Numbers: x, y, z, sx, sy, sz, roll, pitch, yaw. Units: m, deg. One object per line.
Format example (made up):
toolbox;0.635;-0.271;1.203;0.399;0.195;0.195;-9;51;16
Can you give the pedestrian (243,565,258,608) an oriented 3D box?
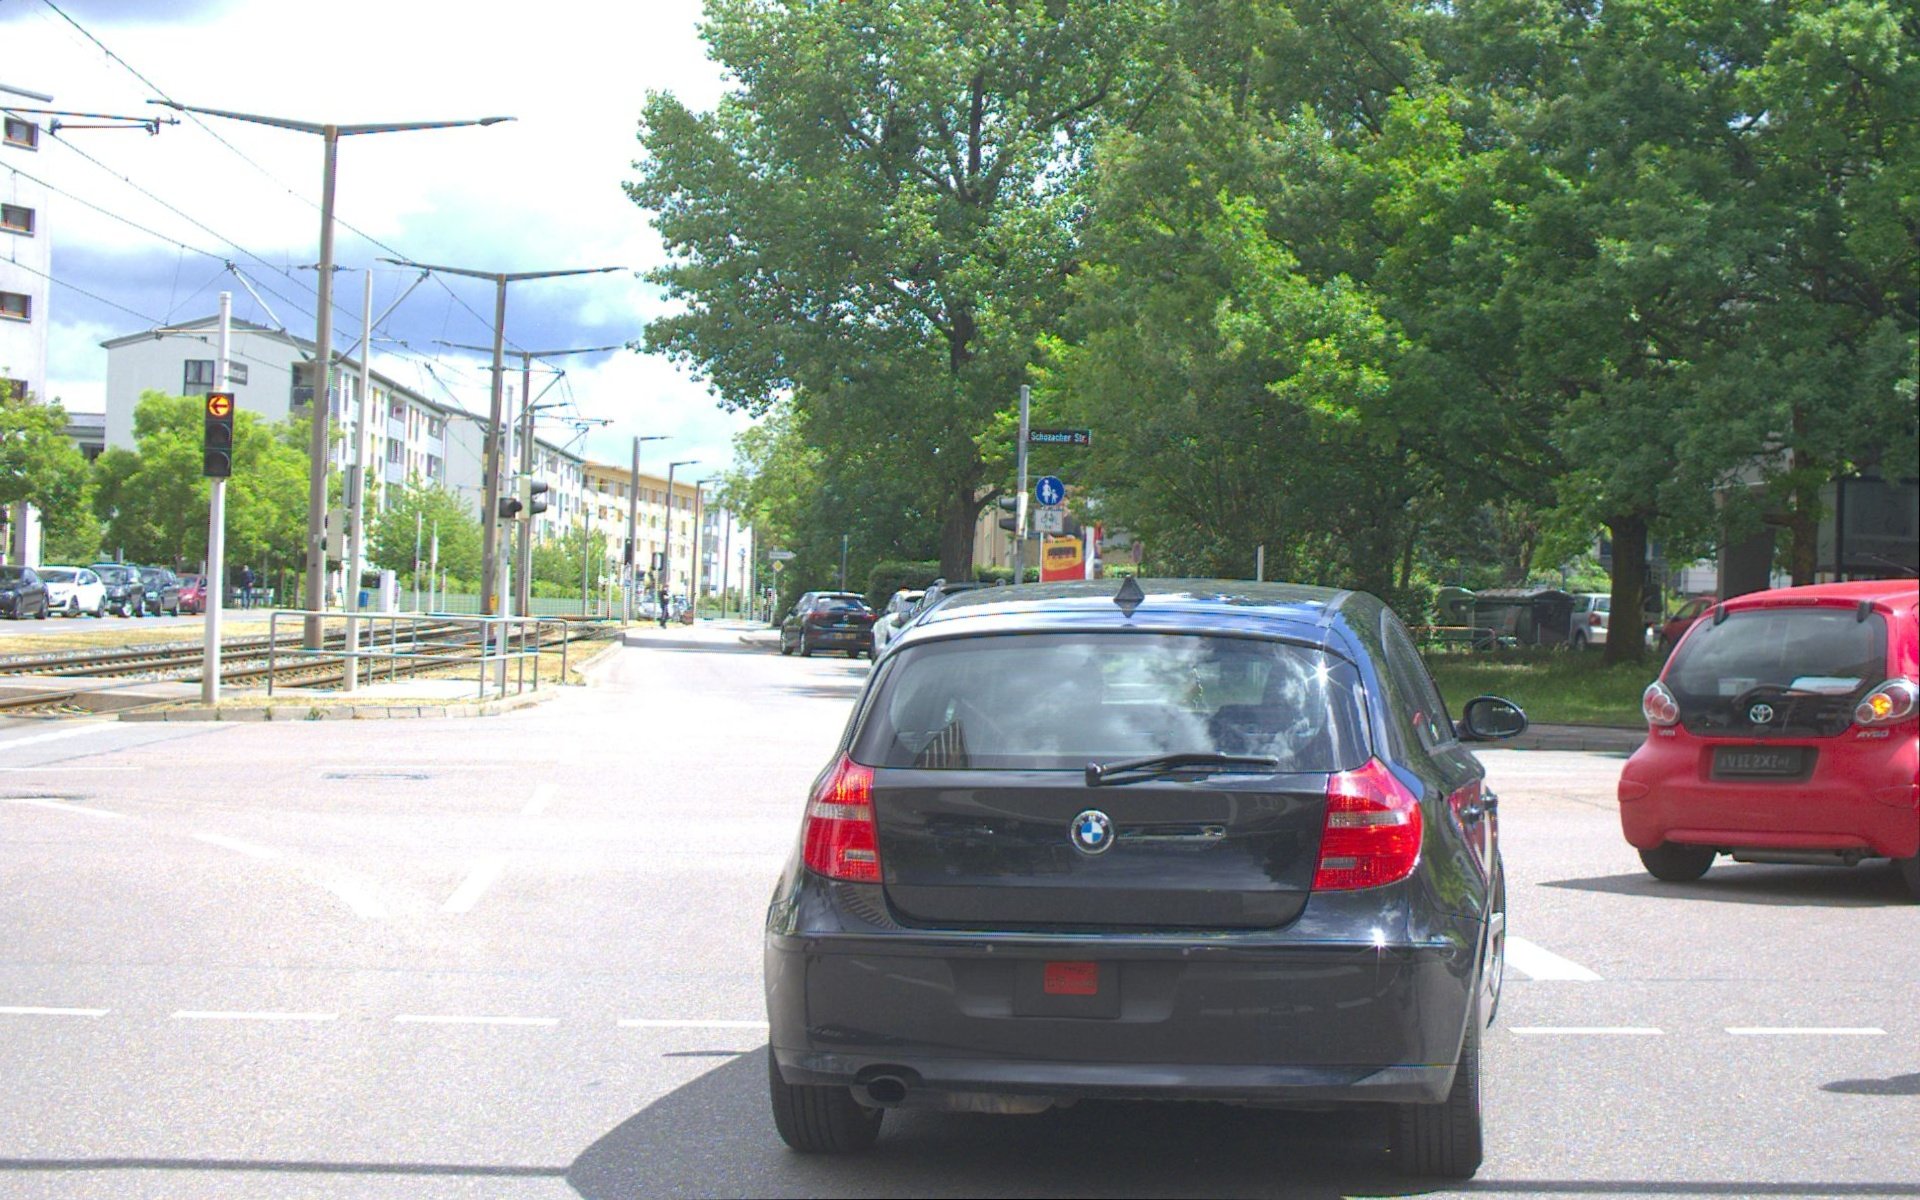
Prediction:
pedestrian;-27.212;-0.508;131.840;0.452;1.631;0.480;1;1;-3

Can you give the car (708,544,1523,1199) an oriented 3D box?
car;0.621;0.612;9.469;1.753;1.482;3.999;1;1;9

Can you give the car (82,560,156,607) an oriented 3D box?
car;-26.111;-0.524;106.789;1.760;1.390;4.001;1;1;-7

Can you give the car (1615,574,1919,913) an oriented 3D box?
car;4.723;0.622;16.544;1.546;1.436;3.187;2;1;45

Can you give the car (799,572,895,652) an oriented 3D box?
car;-2.486;0.248;76.255;1.993;1.678;4.000;1;1;0

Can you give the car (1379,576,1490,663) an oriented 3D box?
car;10.465;0.407;76.039;1.630;1.804;4.033;1;1;-3

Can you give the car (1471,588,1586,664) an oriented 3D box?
car;12.663;0.558;76.774;1.630;1.567;4.033;1;1;-3

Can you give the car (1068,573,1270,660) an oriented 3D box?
car;4.549;0.364;74.958;3.986;1.817;1.779;1;1;-23

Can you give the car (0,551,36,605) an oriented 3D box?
car;-26.158;-0.611;92.801;1.760;1.390;4.001;1;1;-7

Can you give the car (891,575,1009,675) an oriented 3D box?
car;-0.179;0.441;60.895;1.993;1.678;4.000;1;0;0

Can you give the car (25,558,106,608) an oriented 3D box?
car;-26.049;-0.503;100.196;1.760;1.390;4.001;1;1;-7

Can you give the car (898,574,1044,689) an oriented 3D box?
car;0.146;0.481;53.446;2.152;1.678;4.000;1;0;0

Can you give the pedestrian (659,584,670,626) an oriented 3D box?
pedestrian;-11.324;0.196;131.751;0.333;1.622;0.358;1;1;-18

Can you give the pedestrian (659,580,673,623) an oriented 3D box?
pedestrian;-11.272;0.060;131.719;0.478;1.631;0.454;1;1;-1

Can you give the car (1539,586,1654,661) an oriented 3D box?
car;14.431;0.508;78.127;1.630;1.589;4.001;1;1;-3

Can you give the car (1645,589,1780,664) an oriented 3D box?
car;17.169;0.587;78.611;1.730;1.589;4.001;1;1;-8
